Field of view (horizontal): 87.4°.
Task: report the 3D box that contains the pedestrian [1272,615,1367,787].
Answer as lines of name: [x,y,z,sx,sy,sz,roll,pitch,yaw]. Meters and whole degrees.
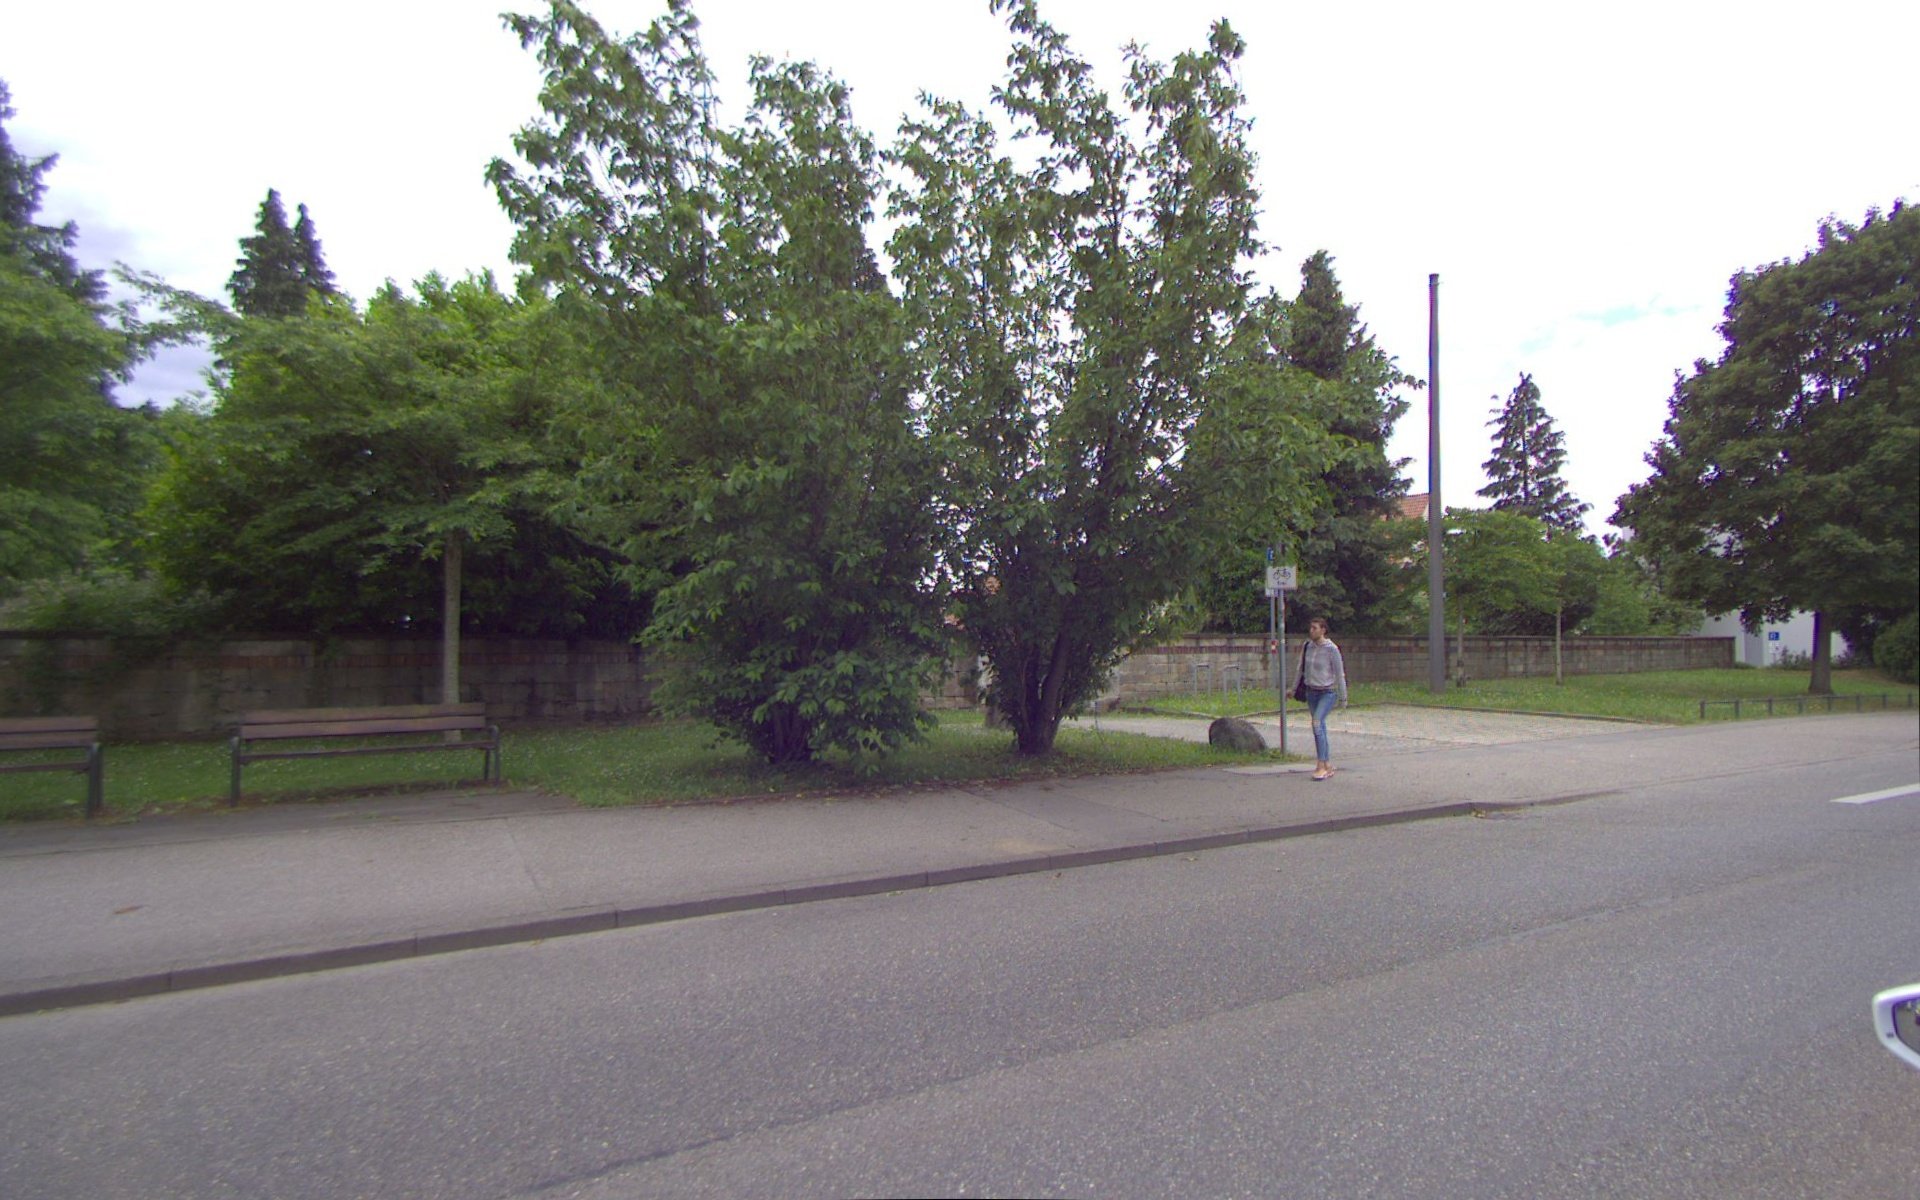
pedestrian: [4.020,1.103,11.245,0.776,1.835,0.610,2,0,-30]
